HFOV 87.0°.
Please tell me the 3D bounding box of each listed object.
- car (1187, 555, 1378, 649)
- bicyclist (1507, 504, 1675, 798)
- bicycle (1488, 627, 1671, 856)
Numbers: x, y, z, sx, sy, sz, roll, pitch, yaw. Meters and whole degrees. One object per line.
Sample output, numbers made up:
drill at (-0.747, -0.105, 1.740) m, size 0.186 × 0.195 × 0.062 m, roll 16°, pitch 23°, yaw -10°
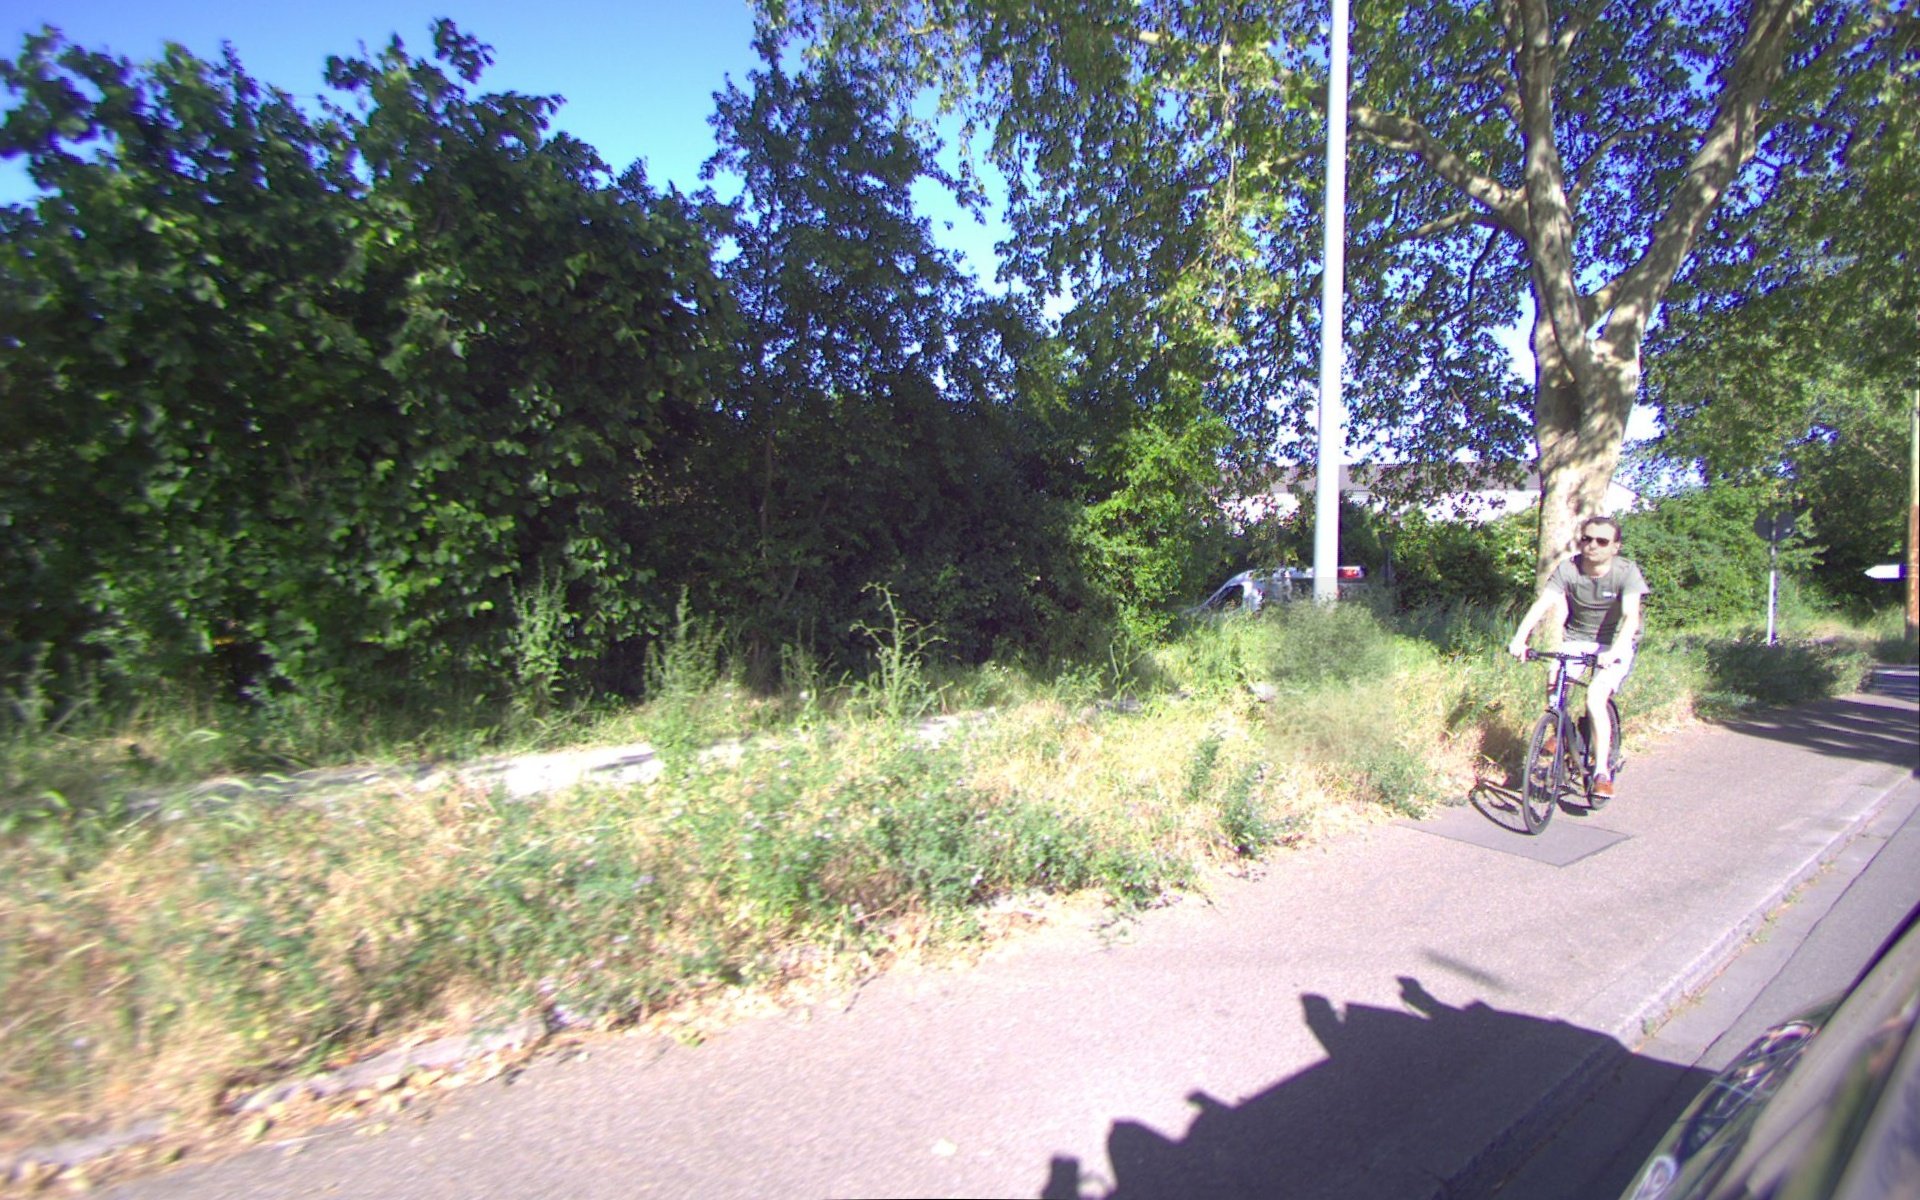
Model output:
car at (9.233, 0.018, 29.011) m, size 4.950 × 2.469 × 2.309 m, roll 1°, pitch 0°, yaw 26°
bicyclist at (3.877, 0.277, 6.211) m, size 0.893 × 1.649 × 0.614 m, roll 0°, pitch 1°, yaw -41°
bicycle at (3.840, 0.783, 6.208) m, size 1.791 × 1.167 × 0.441 m, roll 0°, pitch 1°, yaw -41°
